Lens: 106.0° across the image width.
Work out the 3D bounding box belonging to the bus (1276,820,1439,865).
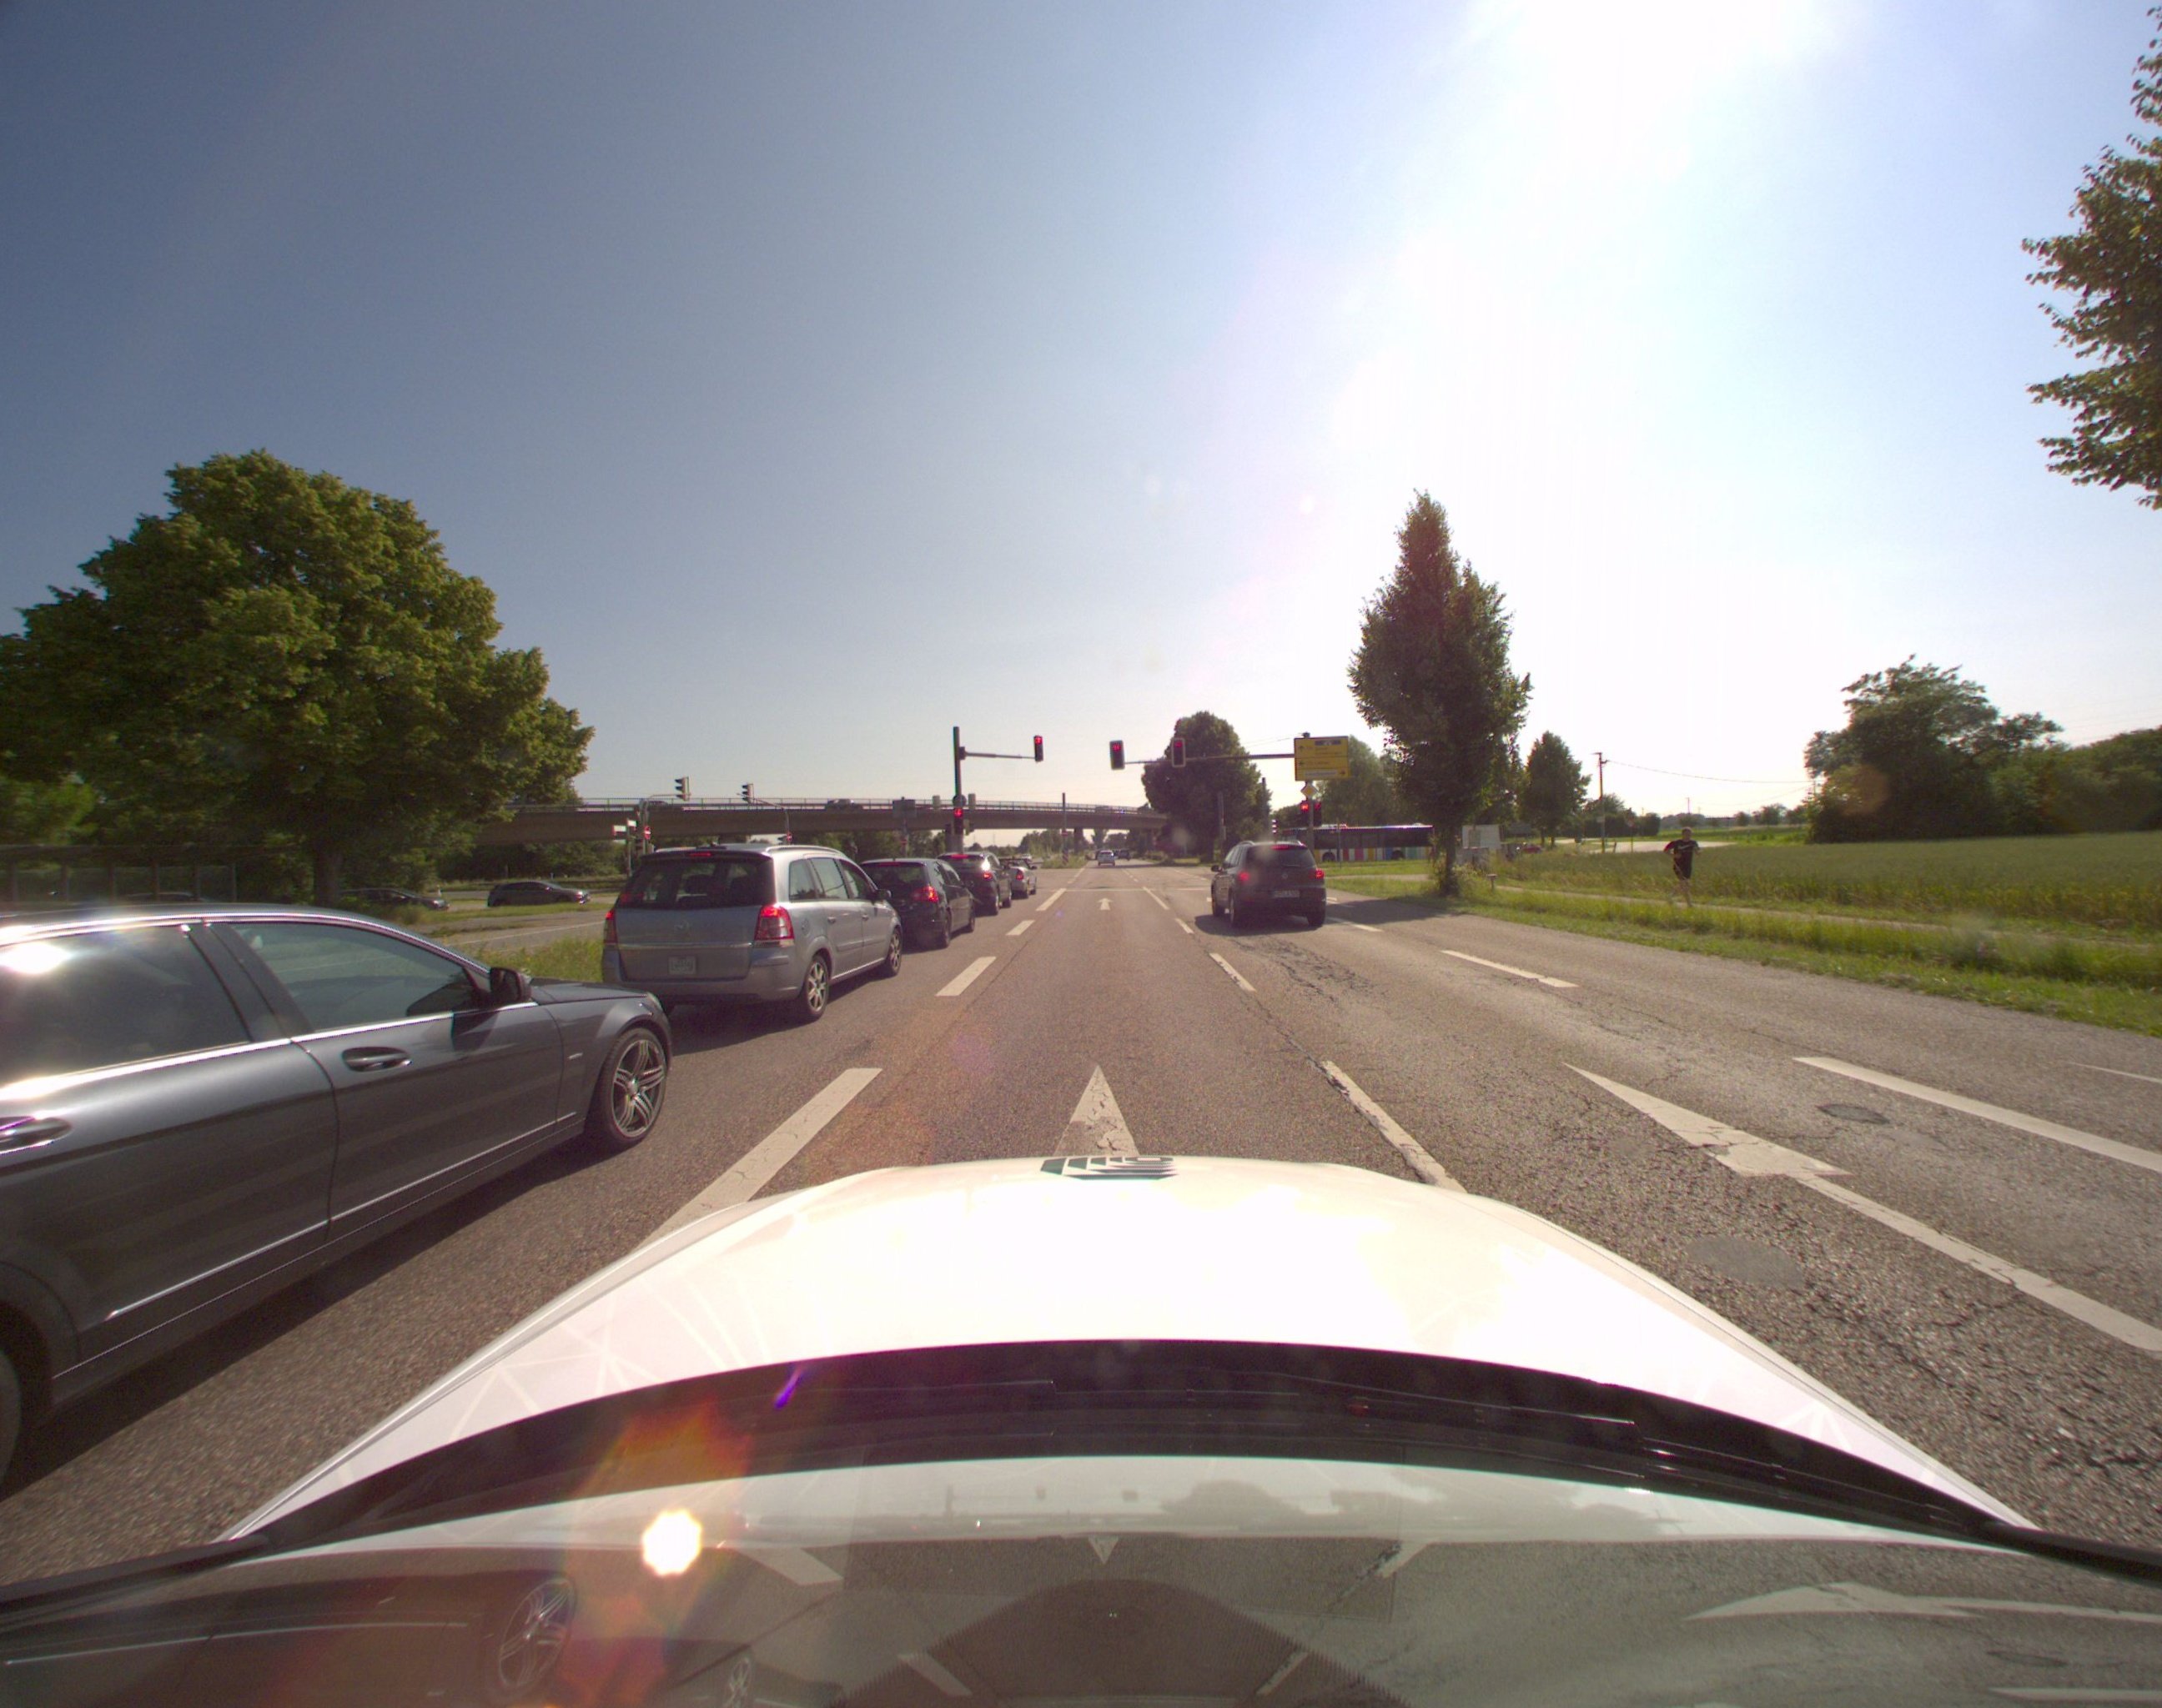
[{"bbox_3d":[21.065,-0.904,62.057,11.954,2.877,2.928,-3,0,-14],"label":"bus"}]

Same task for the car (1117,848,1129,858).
[{"bbox_3d":[6.784,-0.166,130.631,1.866,1.640,4.003,0,0,3],"label":"car"}]

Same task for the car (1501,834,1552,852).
[{"bbox_3d":[39.046,-0.956,71.315,4.001,1.398,1.670,-2,0,-20],"label":"car"}]

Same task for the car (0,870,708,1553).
[{"bbox_3d":[-3.195,0.827,2.766,1.708,1.410,4.357,0,0,2],"label":"car"}]

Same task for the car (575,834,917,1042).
[{"bbox_3d":[-3.169,0.664,8.805,1.735,1.672,4.359,-1,0,2],"label":"car"}]

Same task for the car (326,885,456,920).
[{"bbox_3d":[-32.564,2.269,38.605,4.365,1.280,1.636,-3,0,-28],"label":"car"}]

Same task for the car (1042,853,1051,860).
[{"bbox_3d":[-8.041,0.496,188.760,1.608,1.442,3.778,-4,0,2],"label":"car"}]

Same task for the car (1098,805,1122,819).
[{"bbox_3d":[4.482,-6.469,125.159,1.974,1.838,4.025,0,-1,31],"label":"car"}]

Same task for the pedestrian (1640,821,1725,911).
[{"bbox_3d":[13.011,0.249,17.655,0.899,1.839,1.194,-2,0,-1],"label":"pedestrian"}]

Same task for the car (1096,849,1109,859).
[{"bbox_3d":[3.396,0.013,126.327,1.866,1.492,4.003,-2,0,3],"label":"car"}]

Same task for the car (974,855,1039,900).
[{"bbox_3d":[-2.453,0.759,27.684,1.667,1.335,4.100,-1,0,2],"label":"car"}]

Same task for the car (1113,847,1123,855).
[{"bbox_3d":[7.567,-0.546,166.807,1.986,1.631,4.001,0,-1,1],"label":"car"}]

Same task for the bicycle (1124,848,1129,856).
[{"bbox_3d":[6.058,-0.243,108.418,0.598,0.983,2.362,-2,0,2],"label":"bicycle"}]

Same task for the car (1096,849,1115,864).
[{"bbox_3d":[2.483,0.272,81.595,1.843,1.461,4.003,-1,0,3],"label":"car"}]

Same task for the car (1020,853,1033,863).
[{"bbox_3d":[-9.841,0.678,146.102,1.876,1.515,4.148,-5,0,1],"label":"car"}]

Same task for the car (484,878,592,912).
[{"bbox_3d":[-27.348,2.043,41.177,4.125,1.424,1.859,-3,0,-19],"label":"car"}]

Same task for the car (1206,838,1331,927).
[{"bbox_3d":[3.784,0.524,17.160,1.749,1.655,4.147,0,0,1],"label":"car"}]

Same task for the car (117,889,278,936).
[{"bbox_3d":[-37.699,2.444,34.914,4.372,1.595,1.633,-3,0,-34],"label":"car"}]

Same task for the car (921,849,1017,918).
[{"bbox_3d":[-2.775,0.681,21.020,1.722,1.547,4.100,-1,0,2],"label":"car"}]

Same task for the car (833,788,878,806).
[{"bbox_3d":[-23.165,-5.875,83.839,1.975,1.486,4.024,0,-1,42],"label":"car"}]

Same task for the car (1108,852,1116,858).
[{"bbox_3d":[8.612,0.204,226.602,1.986,1.655,4.002,0,-1,2],"label":"car"}]

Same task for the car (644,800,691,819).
[{"bbox_3d":[-35.270,-3.772,69.496,1.307,1.486,3.218,-2,0,41],"label":"car"}]

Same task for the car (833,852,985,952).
[{"bbox_3d":[-2.877,0.736,14.529,1.660,1.474,4.100,-1,0,2],"label":"car"}]
